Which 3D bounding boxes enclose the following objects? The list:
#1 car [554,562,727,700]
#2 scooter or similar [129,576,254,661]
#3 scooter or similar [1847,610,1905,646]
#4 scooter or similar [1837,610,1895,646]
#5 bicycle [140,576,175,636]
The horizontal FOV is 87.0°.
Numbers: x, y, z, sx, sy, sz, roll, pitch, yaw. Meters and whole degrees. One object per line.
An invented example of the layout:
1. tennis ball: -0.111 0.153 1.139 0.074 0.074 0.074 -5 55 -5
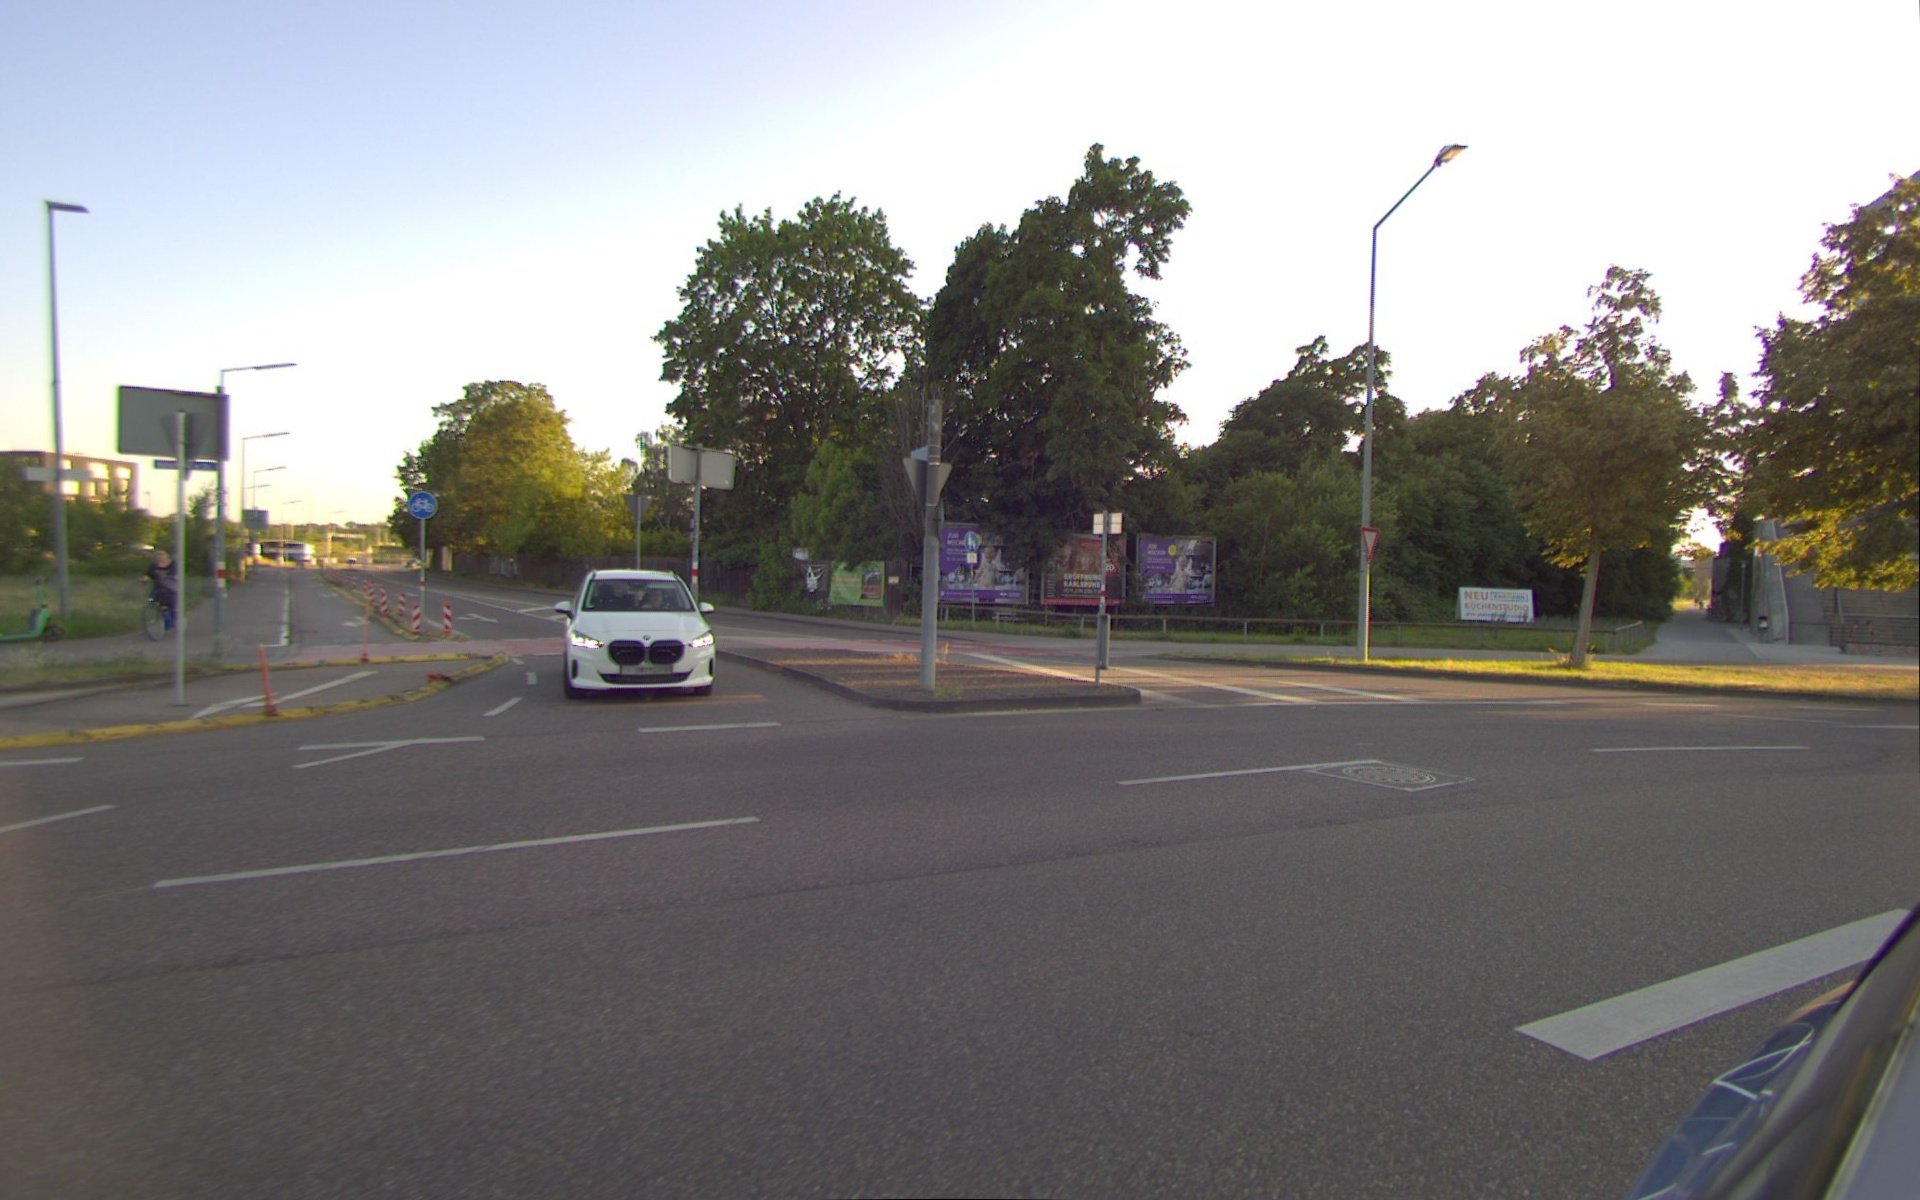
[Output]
1. car: -4.489 0.298 13.798 1.851 1.578 4.104 1 1 -23
2. scooter or similar: -11.182 0.280 14.754 0.441 1.177 1.361 2 0 42
3. scooter or similar: 34.259 1.026 37.864 0.359 1.235 1.580 2 1 -23
4. scooter or similar: 33.709 1.027 37.677 0.359 1.235 1.580 2 1 -23
5. bicycle: -15.479 0.092 19.541 0.274 1.102 1.374 1 1 -28
